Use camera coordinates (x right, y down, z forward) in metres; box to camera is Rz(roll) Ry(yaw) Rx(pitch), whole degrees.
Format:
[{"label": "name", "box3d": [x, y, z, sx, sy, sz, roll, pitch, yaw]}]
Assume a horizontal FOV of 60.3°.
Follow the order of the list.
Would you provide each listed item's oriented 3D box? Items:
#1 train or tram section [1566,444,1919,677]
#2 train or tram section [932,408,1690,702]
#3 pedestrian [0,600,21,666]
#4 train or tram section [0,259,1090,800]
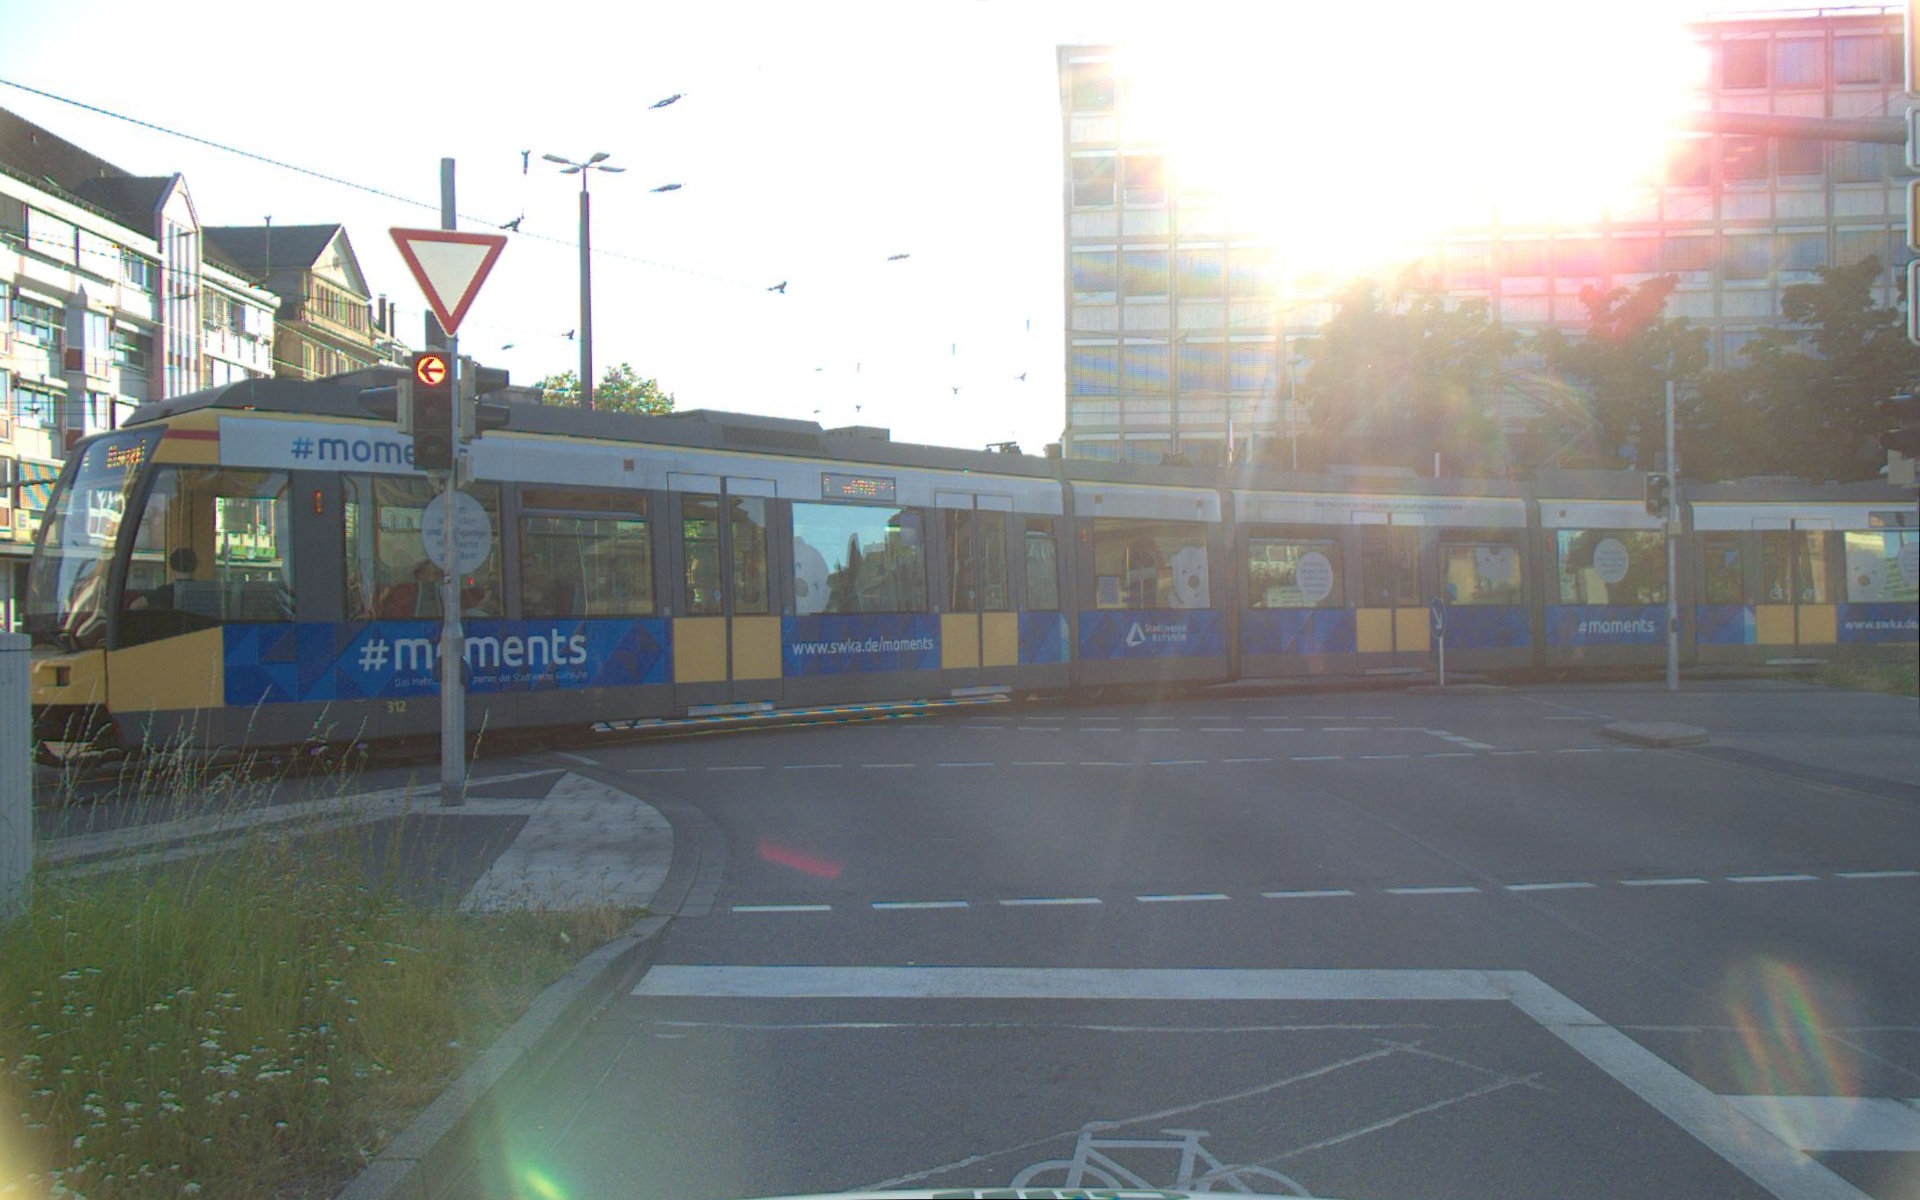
[{"label": "train or tram section", "box3d": [18.127, -0.578, 30.714, 12.695, 3.901, 3.709, 1, 0, -8]}, {"label": "train or tram section", "box3d": [6.026, -0.672, 26.716, 12.795, 3.900, 3.680, -1, 0, -29]}, {"label": "pedestrian", "box3d": [-30.212, 1.010, 51.637, 1.171, 1.913, 0.857, 1, 11, -5]}, {"label": "train or tram section", "box3d": [-3.832, -0.506, 18.274, 3.645, 3.901, 13.294, -1, 0, 39]}]
